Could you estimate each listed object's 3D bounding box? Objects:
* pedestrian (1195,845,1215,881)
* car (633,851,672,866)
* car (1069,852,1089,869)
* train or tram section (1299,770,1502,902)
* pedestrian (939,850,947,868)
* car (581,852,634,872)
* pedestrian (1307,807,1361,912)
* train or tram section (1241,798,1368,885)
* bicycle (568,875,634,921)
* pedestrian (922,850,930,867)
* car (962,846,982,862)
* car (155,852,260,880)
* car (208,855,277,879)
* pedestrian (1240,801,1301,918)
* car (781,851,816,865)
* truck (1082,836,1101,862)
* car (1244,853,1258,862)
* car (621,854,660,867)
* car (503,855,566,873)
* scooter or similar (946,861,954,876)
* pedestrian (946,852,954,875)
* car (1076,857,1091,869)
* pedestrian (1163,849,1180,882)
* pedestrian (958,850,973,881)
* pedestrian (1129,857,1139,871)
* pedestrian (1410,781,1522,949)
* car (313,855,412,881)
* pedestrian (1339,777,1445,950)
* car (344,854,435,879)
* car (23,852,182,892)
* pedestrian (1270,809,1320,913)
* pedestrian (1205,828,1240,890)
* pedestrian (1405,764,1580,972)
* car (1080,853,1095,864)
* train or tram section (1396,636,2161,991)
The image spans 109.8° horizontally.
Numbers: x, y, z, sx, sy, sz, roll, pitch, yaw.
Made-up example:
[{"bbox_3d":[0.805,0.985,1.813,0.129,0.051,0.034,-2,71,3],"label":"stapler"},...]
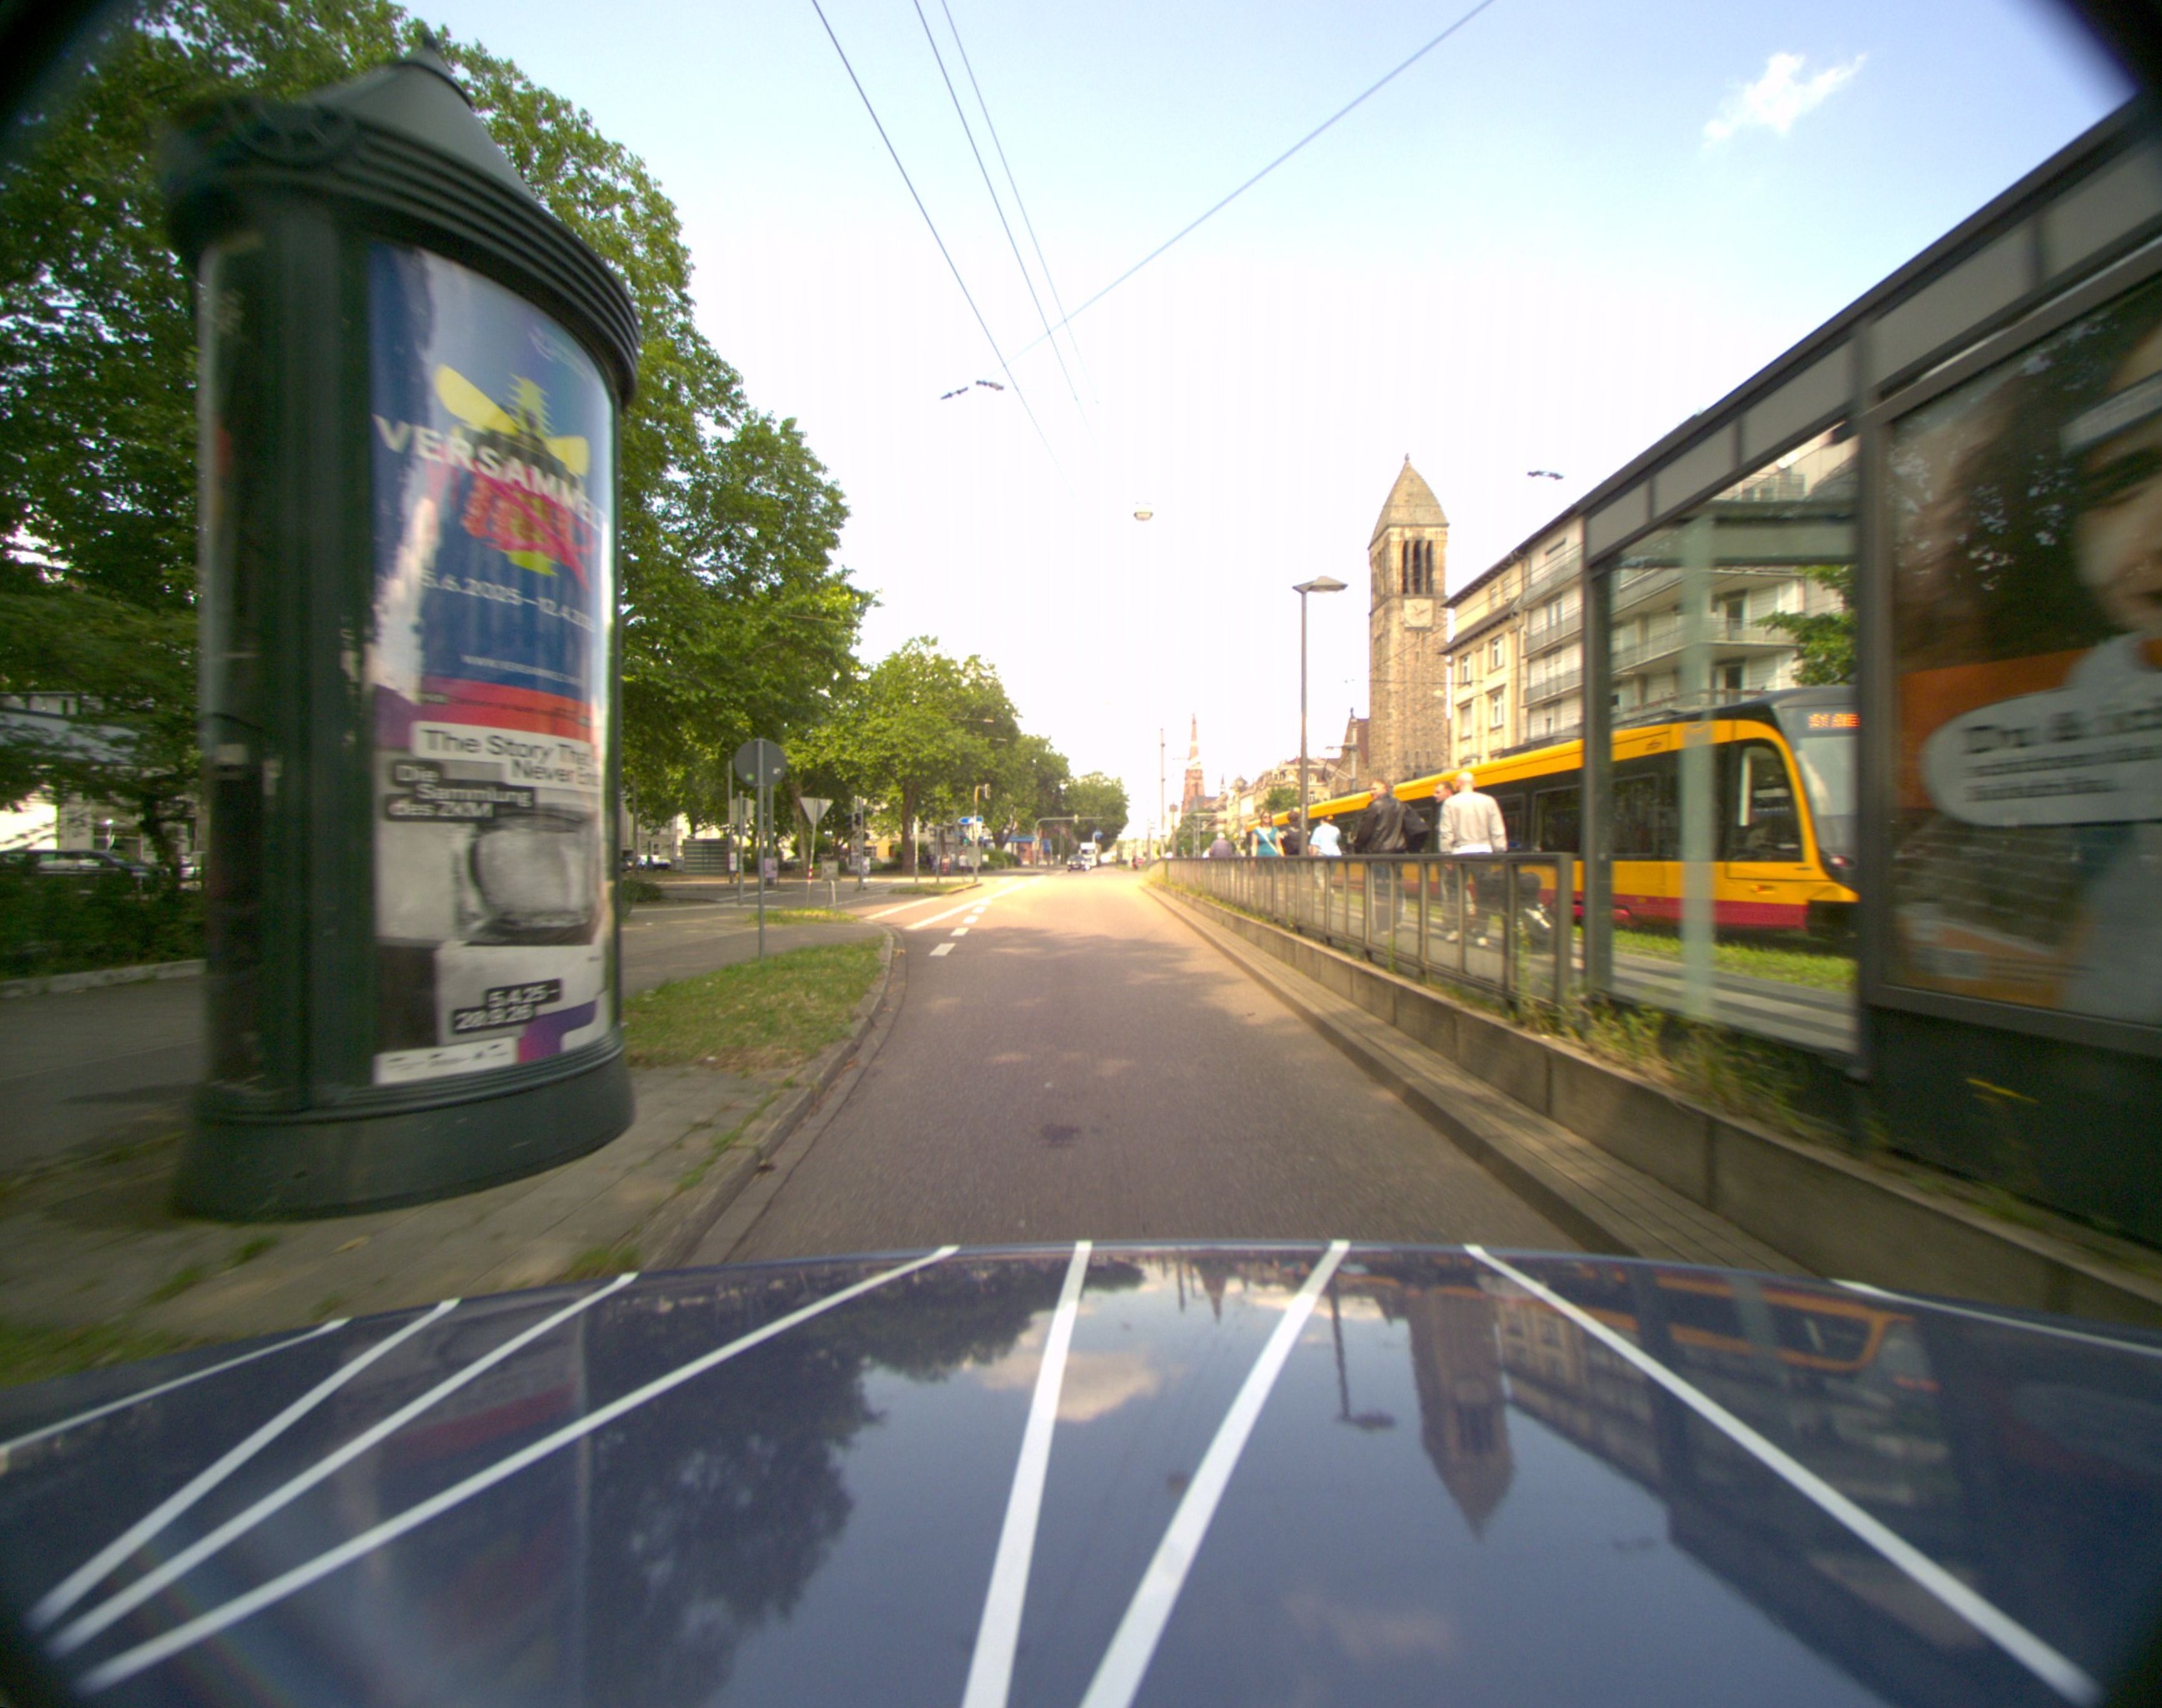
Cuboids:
[{"bbox_3d":[6.195,0.443,38.026,0.850,1.770,1.045,0,0,2],"label":"pedestrian"},{"bbox_3d":[-56.462,0.595,100.103,3.996,1.953,2.000,0,1,4],"label":"car"},{"bbox_3d":[-0.174,0.637,79.206,1.853,1.716,4.420,0,0,3],"label":"car"},{"bbox_3d":[10.188,-0.487,25.887,2.802,3.563,10.404,-1,0,2],"label":"train or tram section"},{"bbox_3d":[-13.545,0.527,74.641,0.607,1.740,0.697,0,1,-22],"label":"pedestrian"},{"bbox_3d":[-47.110,0.790,75.636,3.997,2.002,2.000,0,1,0],"label":"car"},{"bbox_3d":[4.581,0.092,13.814,0.703,1.838,0.908,0,1,1],"label":"pedestrian"},{"bbox_3d":[10.526,-0.513,37.638,2.814,3.563,13.017,-1,0,2],"label":"train or tram section"},{"bbox_3d":[-11.173,1.010,17.678,1.724,1.003,0.535,0,0,29],"label":"bicycle"},{"bbox_3d":[-15.285,0.443,74.862,0.606,1.740,0.697,0,1,-22],"label":"pedestrian"},{"bbox_3d":[-16.000,-0.013,111.749,2.110,2.406,4.001,0,0,3],"label":"car"},{"bbox_3d":[-58.020,0.773,50.527,4.717,1.785,1.911,0,1,-1],"label":"car"},{"bbox_3d":[-58.277,0.885,52.852,3.065,1.656,1.470,0,0,-2],"label":"car"},{"bbox_3d":[3.142,0.092,12.691,0.829,1.888,0.846,0,1,2],"label":"pedestrian"},{"bbox_3d":[-37.608,0.555,101.209,3.996,1.789,1.870,0,1,4],"label":"car"},{"bbox_3d":[1.835,-0.842,129.037,2.914,4.125,6.592,0,0,3],"label":"truck"},{"bbox_3d":[28.797,0.525,128.795,1.788,1.486,3.838,-1,0,2],"label":"car"},{"bbox_3d":[-56.435,0.818,97.440,3.996,1.627,1.745,0,1,4],"label":"car"},{"bbox_3d":[-46.993,0.851,65.393,3.996,1.414,2.000,0,0,2],"label":"car"},{"bbox_3d":[-9.146,1.007,53.098,0.491,1.050,0.708,0,0,-9],"label":"scooter or similar"},{"bbox_3d":[-9.308,0.645,53.909,0.570,1.636,0.922,0,0,-9],"label":"pedestrian"},{"bbox_3d":[0.397,1.073,96.044,1.733,1.457,4.328,0,0,2],"label":"car"},{"bbox_3d":[4.595,0.561,38.588,0.624,1.656,0.677,0,1,28],"label":"pedestrian"},{"bbox_3d":[-6.736,0.659,44.453,0.694,1.773,0.887,0,0,4],"label":"pedestrian"},{"bbox_3d":[5.631,1.044,80.643,0.776,1.483,0.657,2,0,-10],"label":"pedestrian"},{"bbox_3d":[4.341,0.116,8.650,0.713,1.790,1.132,0,0,1],"label":"pedestrian"},{"bbox_3d":[-47.094,0.898,49.865,4.535,1.591,2.034,0,1,0],"label":"car"},{"bbox_3d":[3.536,0.104,8.723,0.812,1.862,1.031,0,0,1],"label":"pedestrian"},{"bbox_3d":[-47.838,0.840,52.604,4.535,1.680,1.911,0,1,0],"label":"car"},{"bbox_3d":[-41.803,0.728,32.578,3.753,1.651,1.864,0,0,-21],"label":"car"},{"bbox_3d":[3.881,0.122,13.835,0.703,1.838,0.789,0,1,1],"label":"pedestrian"},{"bbox_3d":[4.068,0.140,21.870,0.859,1.764,0.876,0,1,2],"label":"pedestrian"},{"bbox_3d":[3.875,0.123,7.318,0.888,1.790,1.495,0,0,1],"label":"pedestrian"},{"bbox_3d":[0.873,0.610,105.440,1.853,1.438,3.974,0,1,3],"label":"car"},{"bbox_3d":[9.775,-0.411,14.191,2.730,3.563,13.017,-1,0,2],"label":"train or tram section"}]
